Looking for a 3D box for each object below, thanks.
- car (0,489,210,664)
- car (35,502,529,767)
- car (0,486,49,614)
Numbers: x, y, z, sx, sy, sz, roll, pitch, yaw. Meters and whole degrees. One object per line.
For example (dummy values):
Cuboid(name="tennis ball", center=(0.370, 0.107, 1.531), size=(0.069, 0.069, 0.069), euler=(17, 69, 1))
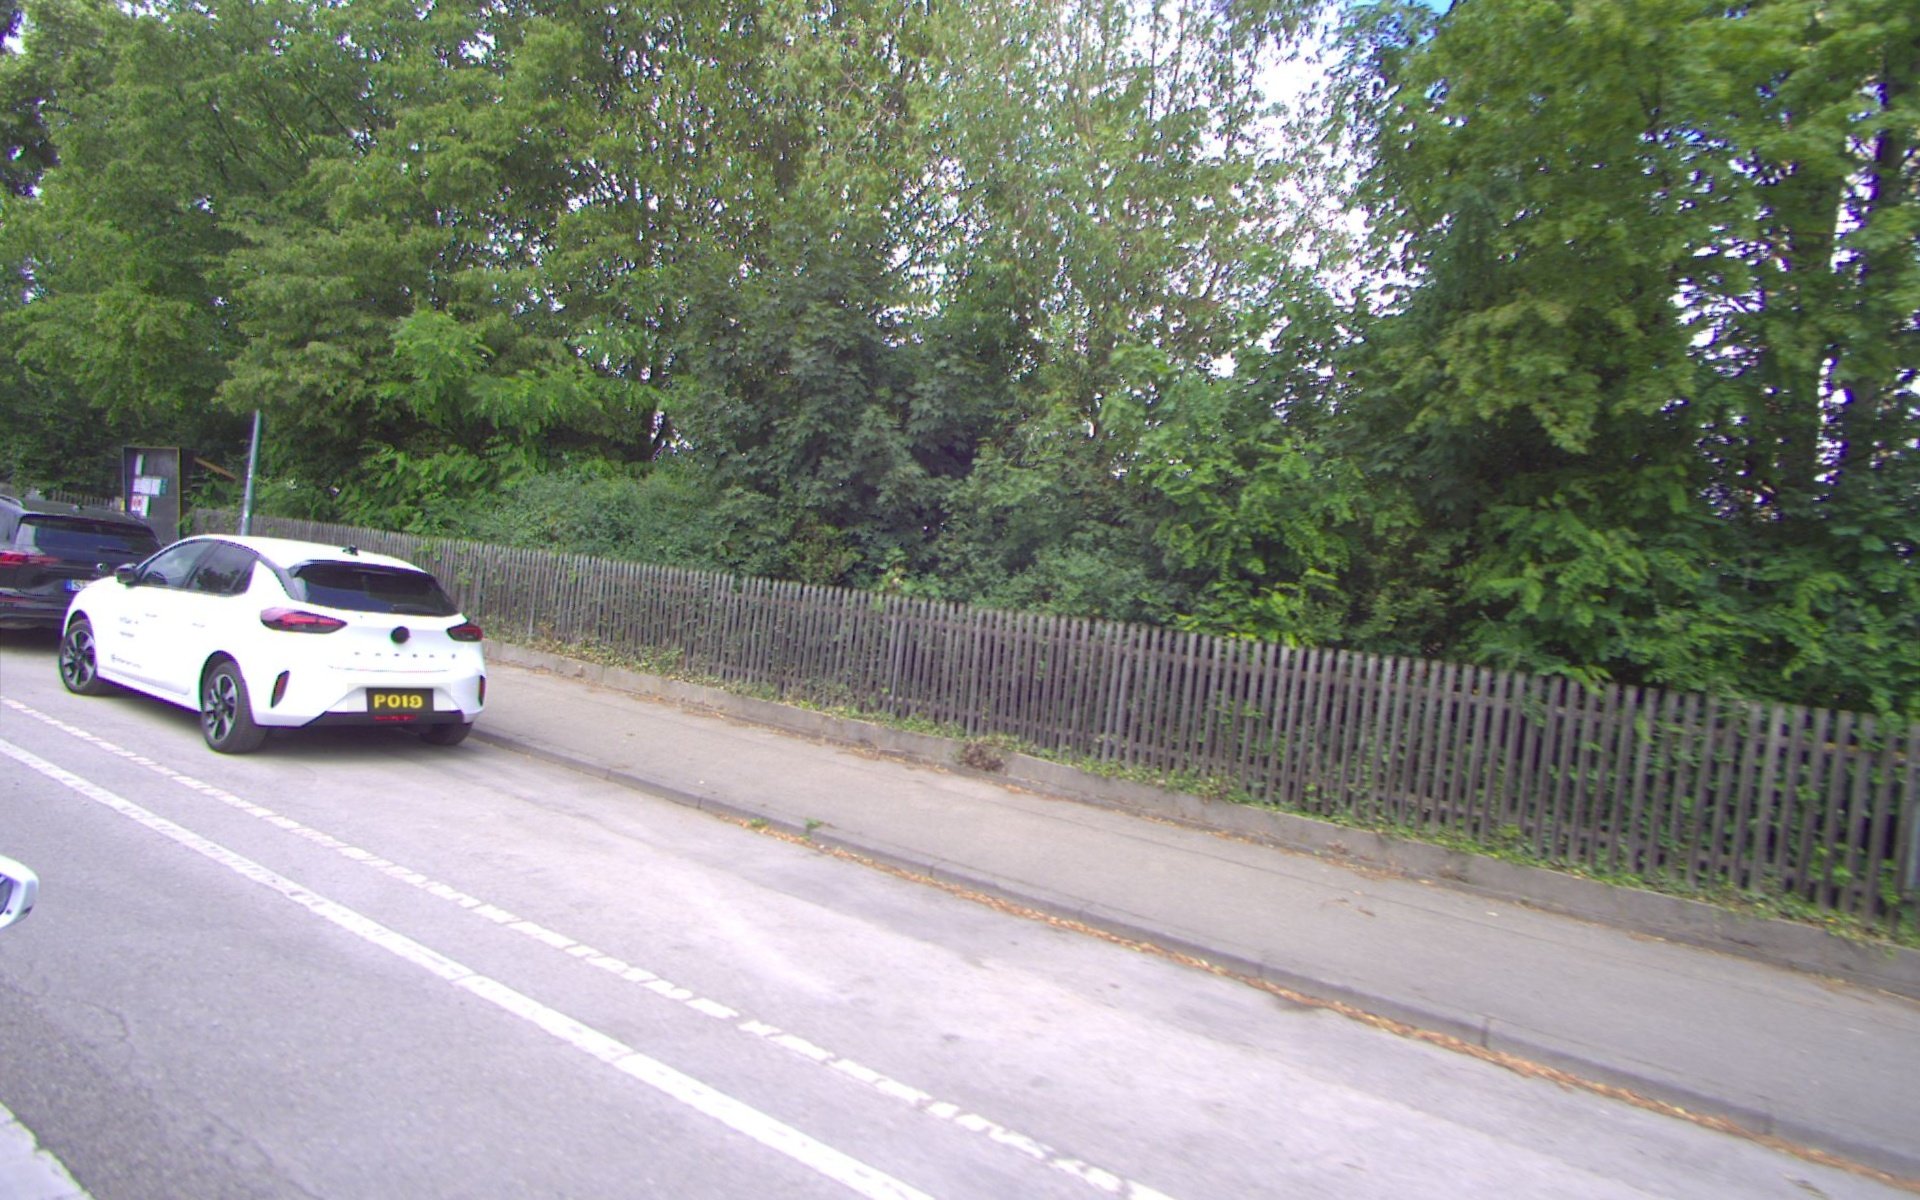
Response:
Cuboid(name="car", center=(-10.311, -0.416, 11.036), size=(4.462, 1.528, 1.705), euler=(7, -1, 32))
Cuboid(name="car", center=(-5.560, 0.189, 8.135), size=(3.965, 1.528, 1.770), euler=(6, -1, 32))
Cuboid(name="car", center=(-14.670, -0.930, 13.785), size=(4.608, 1.629, 1.865), euler=(6, -2, 31))
